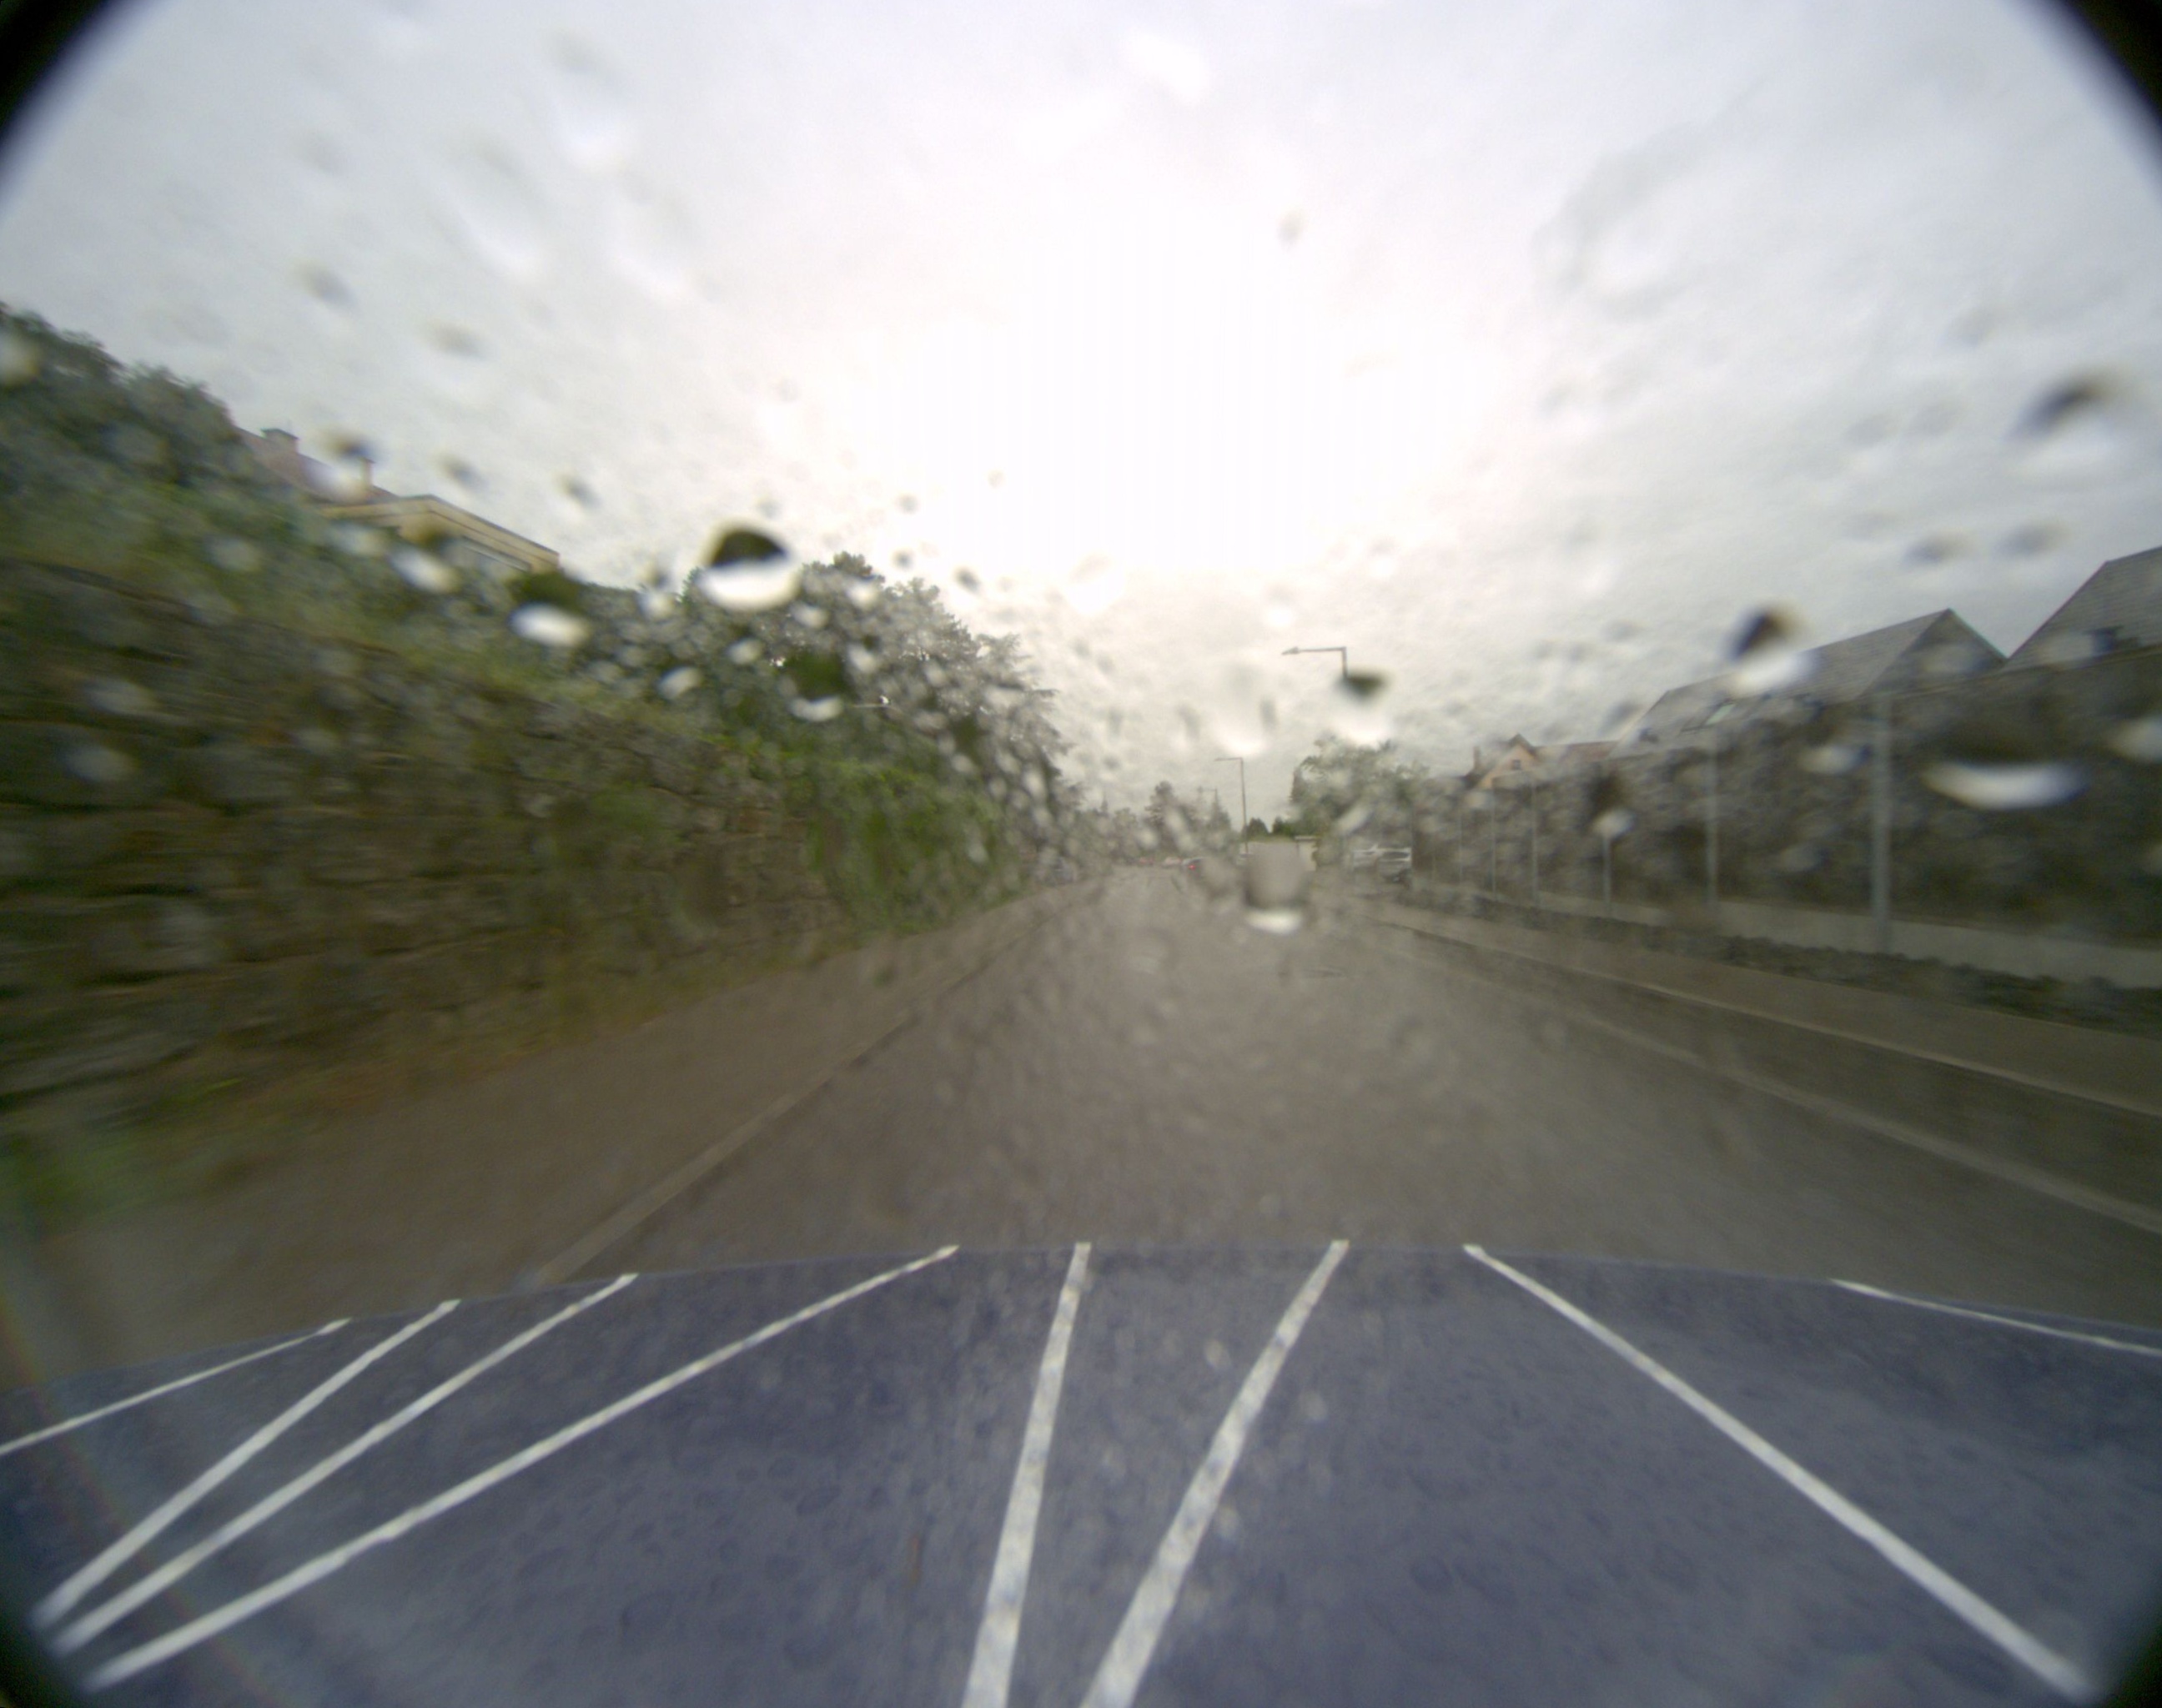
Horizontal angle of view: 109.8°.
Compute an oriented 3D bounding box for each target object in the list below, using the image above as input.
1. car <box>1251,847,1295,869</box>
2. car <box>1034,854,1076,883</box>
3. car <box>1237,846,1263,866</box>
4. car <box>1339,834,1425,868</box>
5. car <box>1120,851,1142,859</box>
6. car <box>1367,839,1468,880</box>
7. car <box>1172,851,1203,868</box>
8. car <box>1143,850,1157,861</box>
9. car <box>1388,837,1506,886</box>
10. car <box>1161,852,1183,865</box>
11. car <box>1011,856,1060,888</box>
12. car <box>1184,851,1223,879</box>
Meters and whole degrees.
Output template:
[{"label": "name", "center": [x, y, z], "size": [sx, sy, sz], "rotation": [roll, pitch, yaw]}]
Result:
[{"label": "car", "center": [13.826, 0.266, 54.953], "size": [1.839, 1.397, 4.259], "rotation": [-4, 0, -3]}, {"label": "car", "center": [-1.500, 0.820, 45.416], "size": [1.998, 1.660, 4.545], "rotation": [0, 0, 5]}, {"label": "car", "center": [15.509, 0.160, 69.651], "size": [1.707, 1.544, 4.394], "rotation": [-3, 0, 20]}, {"label": "car", "center": [16.016, -0.146, 40.420], "size": [4.063, 1.565, 1.939], "rotation": [-4, 0, -26]}, {"label": "car", "center": [9.648, 0.258, 146.783], "size": [4.000, 1.264, 1.872], "rotation": [-4, 1, -9]}, {"label": "car", "center": [14.693, 0.220, 33.085], "size": [4.540, 1.434, 1.757], "rotation": [-4, 1, -33]}, {"label": "car", "center": [8.559, 0.405, 61.175], "size": [1.886, 1.276, 4.209], "rotation": [-3, 0, 1]}, {"label": "car", "center": [10.146, 0.164, 112.086], "size": [1.854, 1.461, 3.701], "rotation": [-3, 0, 6]}, {"label": "car", "center": [14.051, 0.281, 29.153], "size": [4.299, 1.591, 1.834], "rotation": [-4, 0, -28]}, {"label": "car", "center": [10.934, 0.535, 91.520], "size": [1.852, 1.452, 4.266], "rotation": [-4, 0, -3]}, {"label": "car", "center": [-2.301, 0.879, 39.323], "size": [1.814, 1.554, 4.012], "rotation": [0, 1, 7]}, {"label": "car", "center": [6.911, 0.594, 43.254], "size": [1.885, 1.441, 4.210], "rotation": [-3, 0, 5]}]
